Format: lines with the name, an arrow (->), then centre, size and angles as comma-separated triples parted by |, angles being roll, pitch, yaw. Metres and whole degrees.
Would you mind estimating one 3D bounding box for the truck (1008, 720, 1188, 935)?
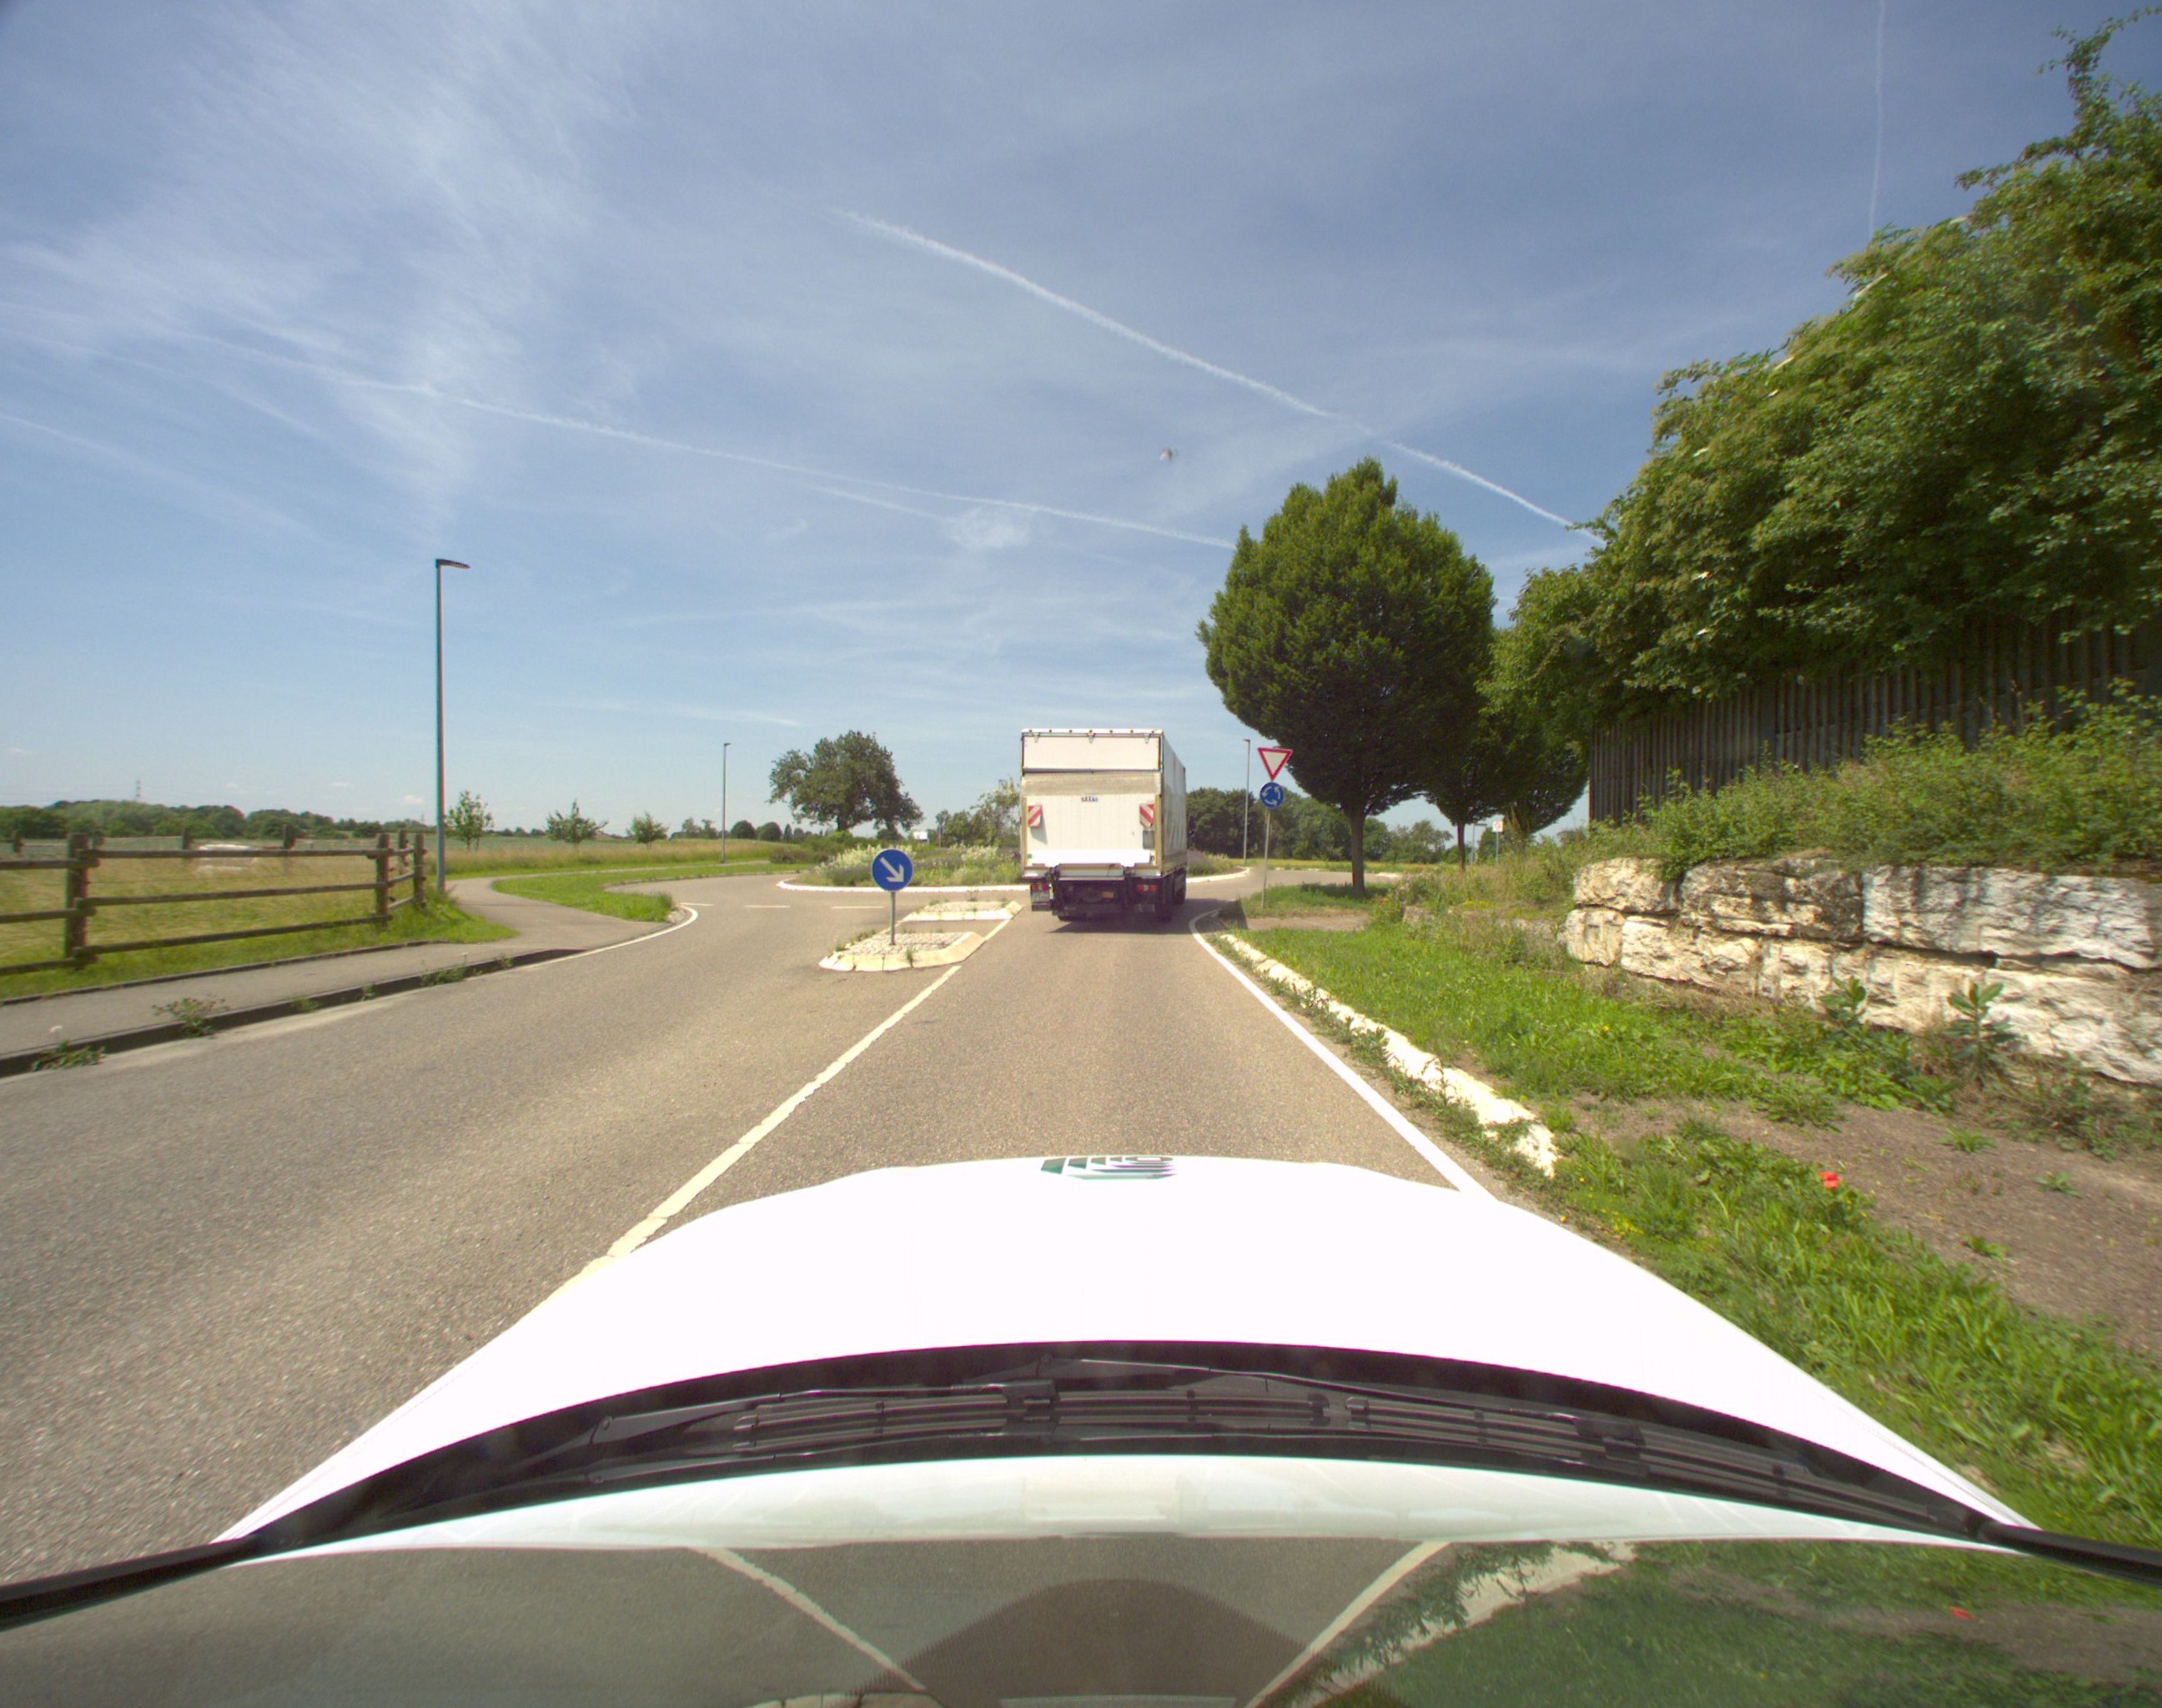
truck -> 0.882, -0.524, 18.754 | 2.750, 3.670, 9.409 | 0, 1, 10
